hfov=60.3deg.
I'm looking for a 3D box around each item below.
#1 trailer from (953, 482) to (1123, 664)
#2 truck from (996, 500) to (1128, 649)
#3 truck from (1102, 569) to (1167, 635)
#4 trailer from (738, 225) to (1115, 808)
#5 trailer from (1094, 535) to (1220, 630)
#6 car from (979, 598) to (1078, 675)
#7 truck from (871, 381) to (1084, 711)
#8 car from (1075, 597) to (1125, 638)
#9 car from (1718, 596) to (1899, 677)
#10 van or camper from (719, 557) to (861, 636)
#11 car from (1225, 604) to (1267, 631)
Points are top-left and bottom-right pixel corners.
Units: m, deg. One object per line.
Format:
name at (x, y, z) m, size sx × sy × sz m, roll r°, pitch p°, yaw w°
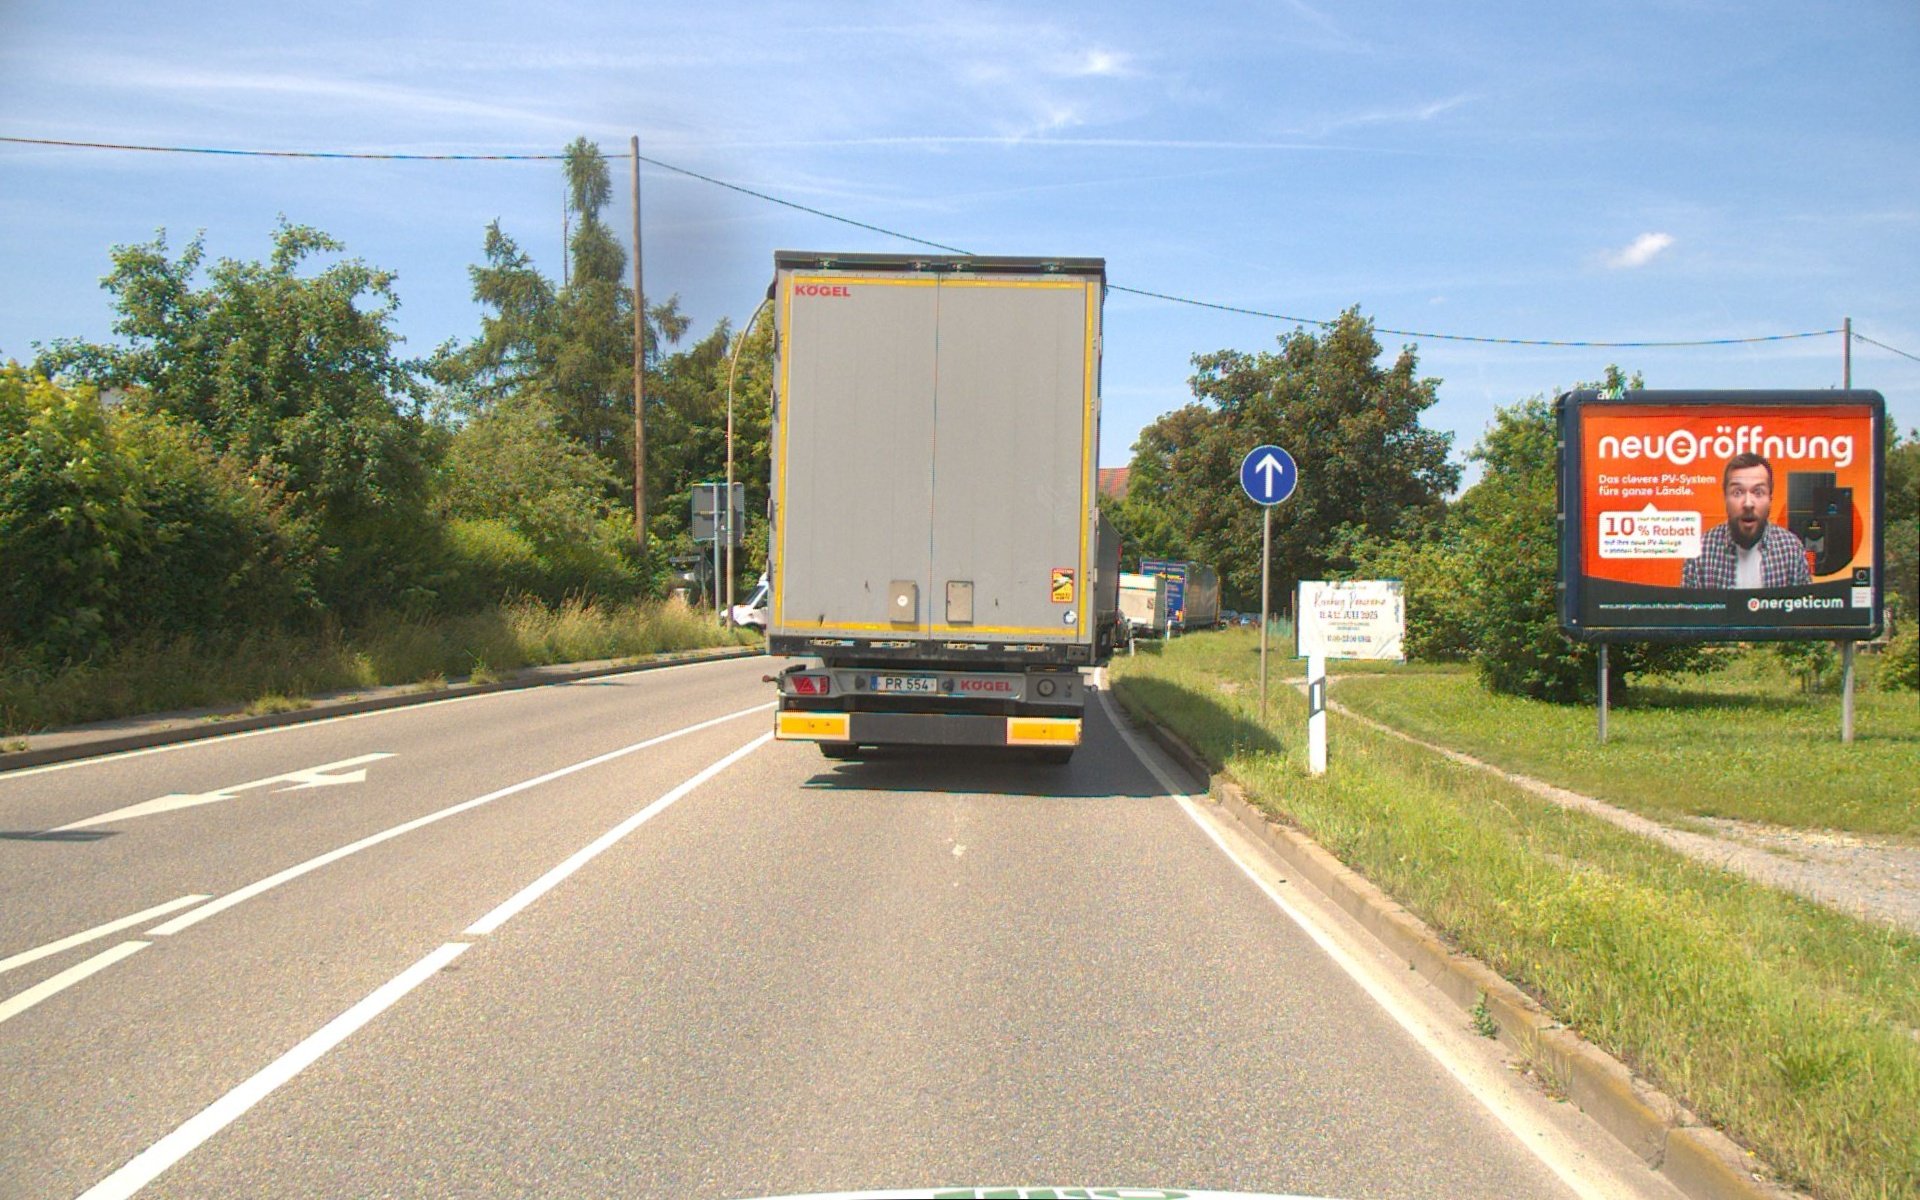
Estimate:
trailer at (2.597, -0.689, 48.501) m, size 3.808 × 4.600 × 12.723 m, roll 1°, pitch 0°, yaw 8°
truck at (3.561, -0.815, 55.616) m, size 3.853 × 4.655 × 7.157 m, roll 1°, pitch 0°, yaw 7°
truck at (7.993, 0.063, 75.264) m, size 2.369 × 2.888 × 5.417 m, roll 1°, pitch 1°, yaw 11°
trailer at (0.063, -0.689, 18.322) m, size 2.728 × 4.278 × 12.116 m, roll 1°, pitch 1°, yaw 3°
trailer at (11.123, -0.930, 90.960) m, size 5.069 × 4.709 × 15.909 m, roll 1°, pitch 1°, yaw 13°
car at (1.583, 0.771, 36.936) m, size 1.951 × 1.556 × 4.003 m, roll 1°, pitch 1°, yaw 6°
truck at (0.399, -0.735, 24.541) m, size 2.688 × 4.238 × 6.145 m, roll 1°, pitch 1°, yaw 3°
car at (5.577, 0.671, 65.564) m, size 1.802 × 1.512 × 4.003 m, roll 1°, pitch 1°, yaw 6°
car at (22.978, 0.949, 44.908) m, size 3.902 × 2.049 × 2.002 m, roll 1°, pitch 0°, yaw 7°
van or camper at (-6.251, -0.128, 60.747) m, size 4.784 × 2.762 × 2.185 m, roll 1°, pitch 0°, yaw -20°
car at (19.443, 1.165, 112.469) m, size 1.953 × 1.713 × 3.999 m, roll 1°, pitch 1°, yaw 23°
